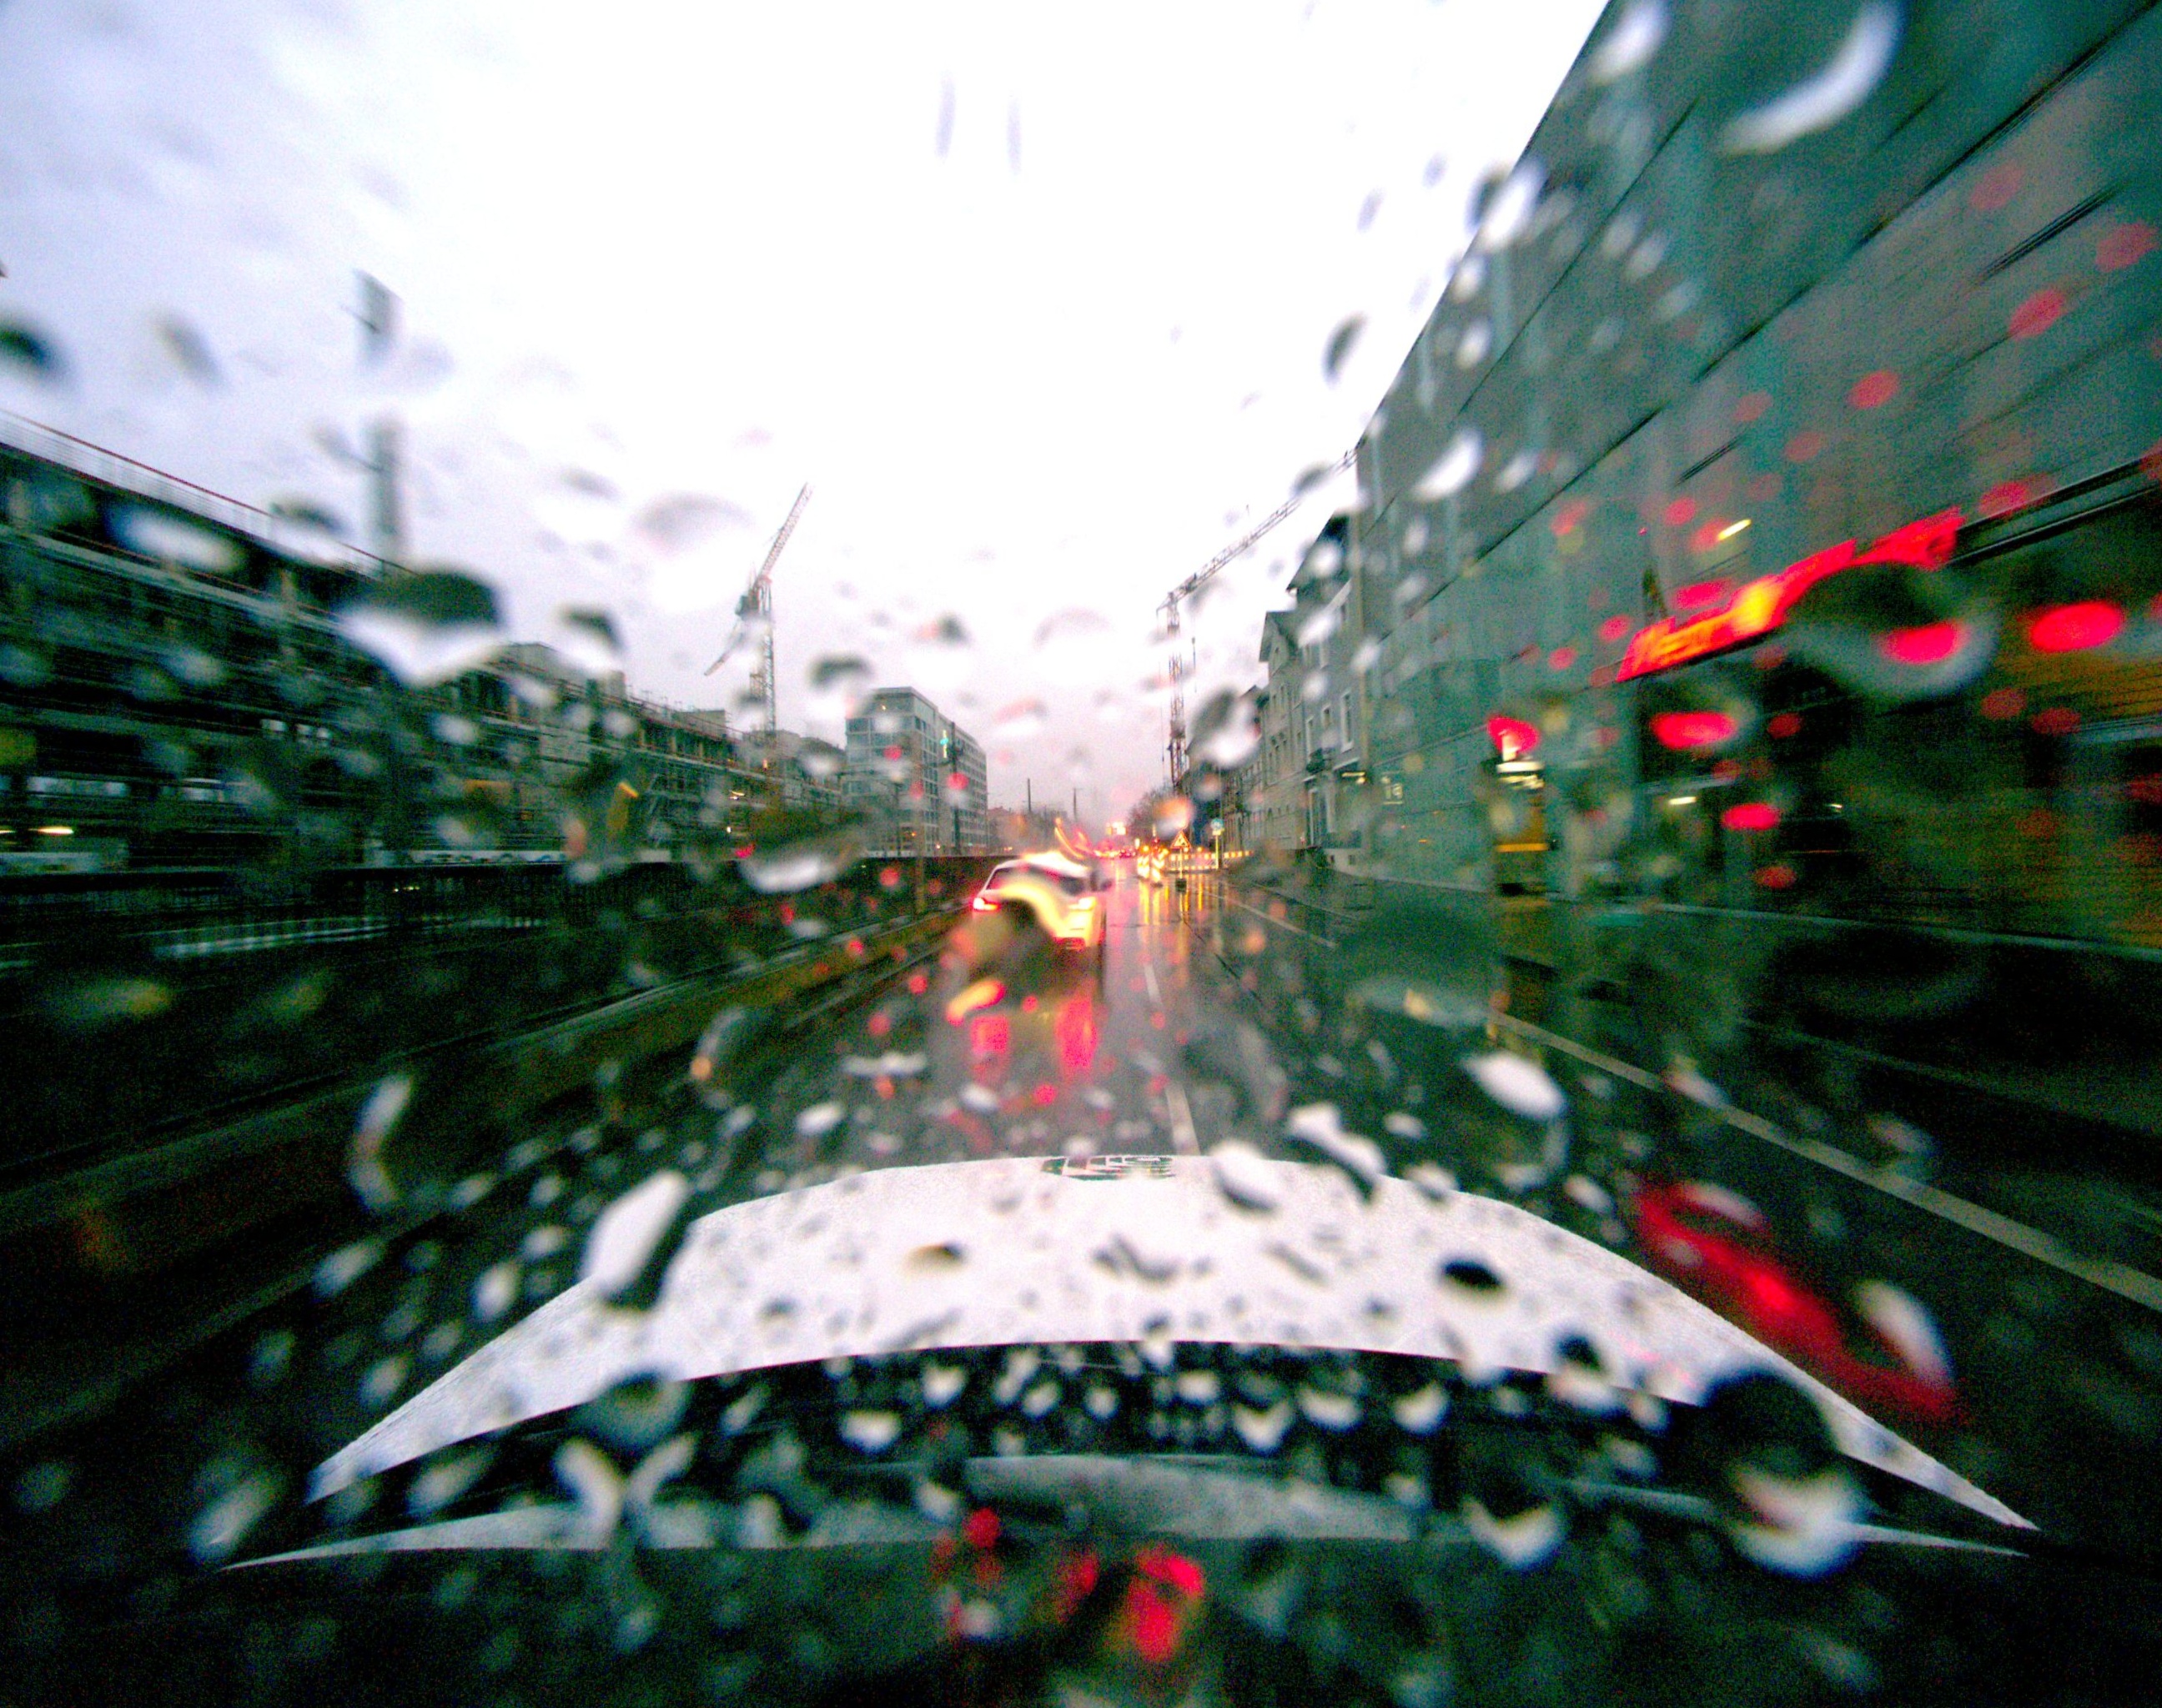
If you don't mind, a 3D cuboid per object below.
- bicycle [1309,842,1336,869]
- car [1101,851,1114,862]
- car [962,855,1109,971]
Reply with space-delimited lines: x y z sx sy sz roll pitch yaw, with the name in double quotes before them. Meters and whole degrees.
"bicycle" 11.447 0.069 38.649 0.680 1.222 1.906 -5 0 2
"car" 4.223 0.375 128.077 1.893 1.641 4.003 -1 0 3
"car" -0.513 0.770 13.087 1.844 1.465 4.950 -1 0 2
